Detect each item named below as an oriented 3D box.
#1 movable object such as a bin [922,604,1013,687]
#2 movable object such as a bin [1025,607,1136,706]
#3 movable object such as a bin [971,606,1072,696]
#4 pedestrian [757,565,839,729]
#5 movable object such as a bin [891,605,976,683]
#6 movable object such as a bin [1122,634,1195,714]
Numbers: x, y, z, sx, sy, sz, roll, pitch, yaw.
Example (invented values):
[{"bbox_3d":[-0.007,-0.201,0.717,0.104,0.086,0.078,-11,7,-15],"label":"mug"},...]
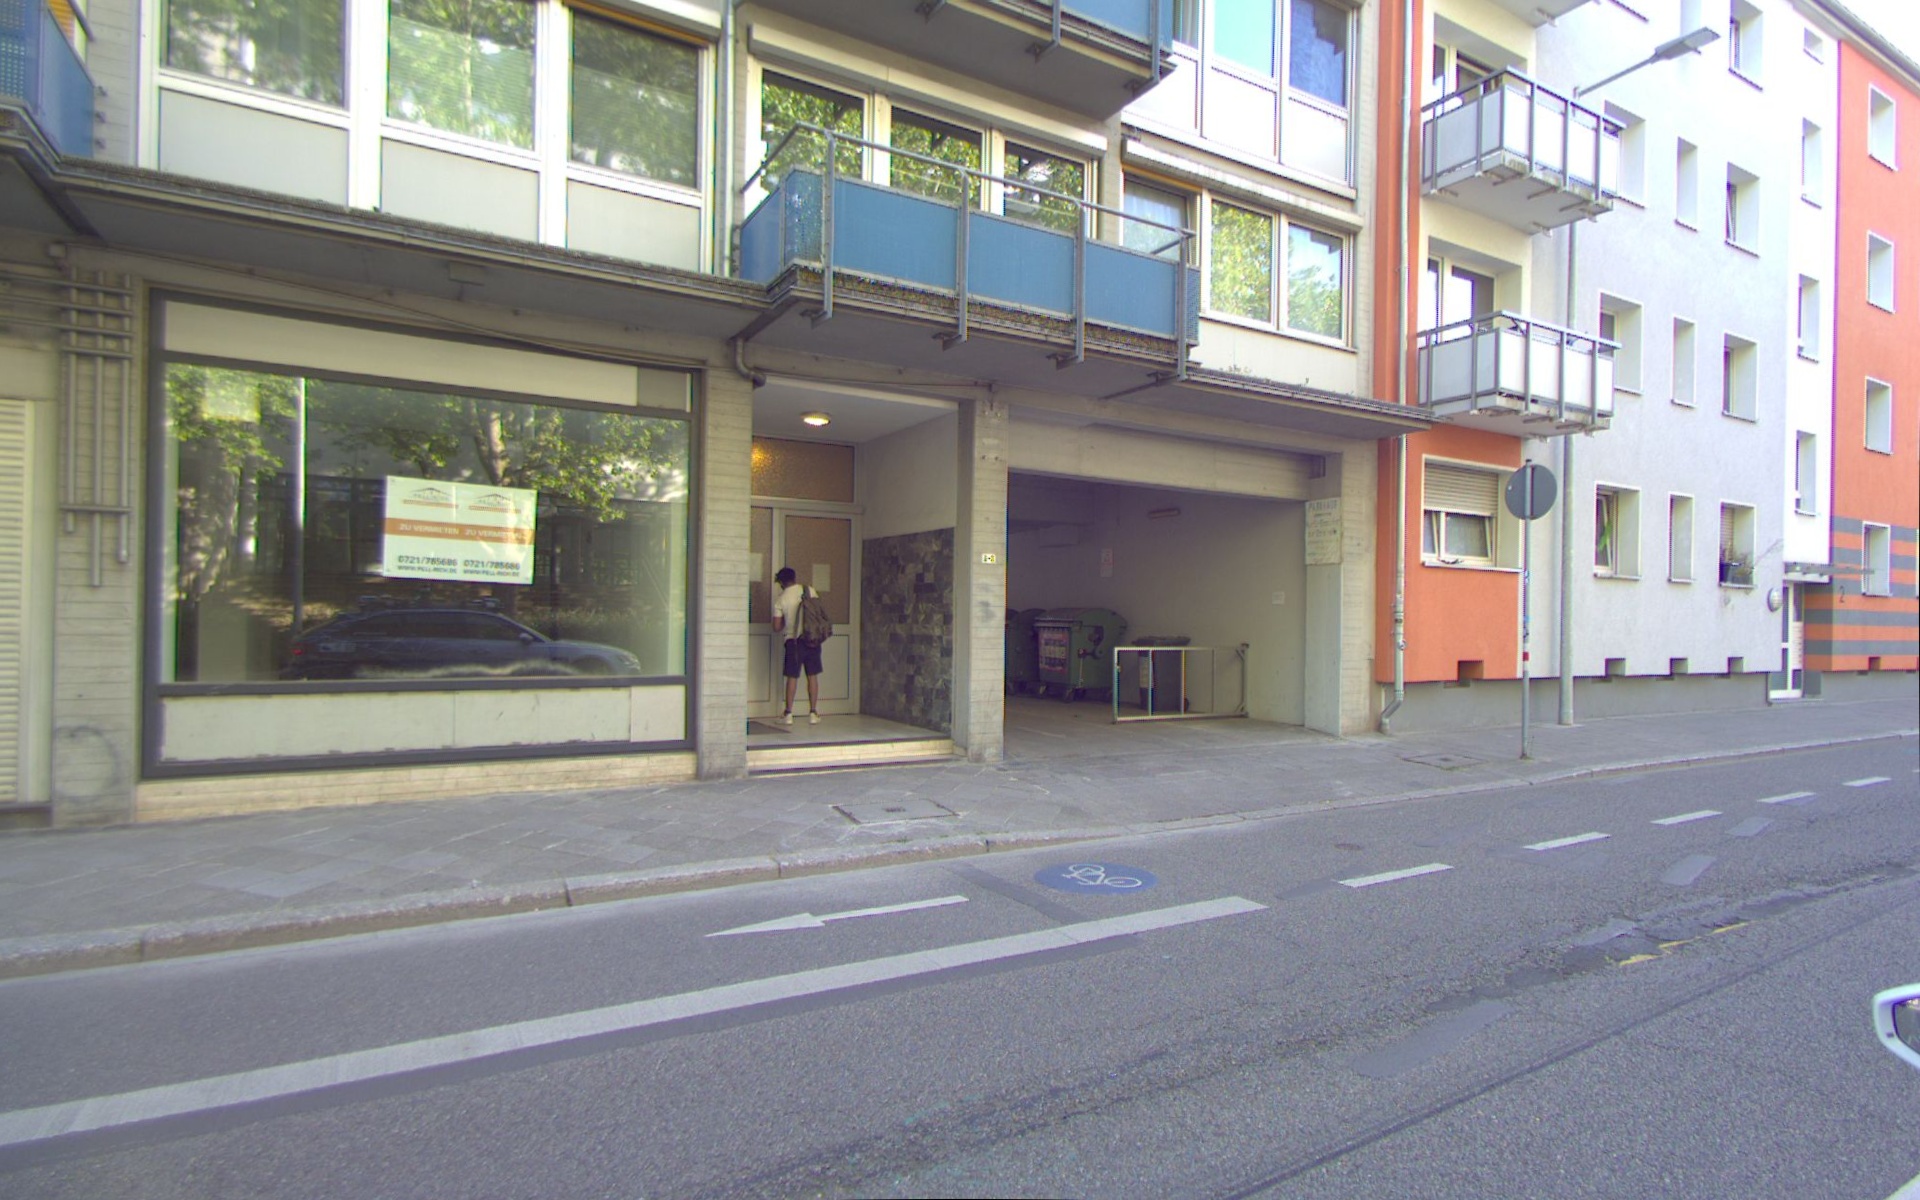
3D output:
[{"bbox_3d":[0.128,0.826,18.765,1.182,1.452,1.300,2,0,-30],"label":"movable object such as a bin"},{"bbox_3d":[1.882,0.865,15.803,1.182,1.452,1.300,2,0,-30],"label":"movable object such as a bin"},{"bbox_3d":[1.041,0.846,17.190,1.182,1.452,1.300,2,0,-30],"label":"movable object such as a bin"},{"bbox_3d":[-1.686,0.470,10.381,0.558,1.606,0.919,1,0,-28],"label":"pedestrian"},{"bbox_3d":[-0.539,0.857,19.929,1.182,1.452,1.300,2,0,-30],"label":"movable object such as a bin"},{"bbox_3d":[2.859,1.059,14.521,0.707,1.089,0.735,2,0,-30],"label":"movable object such as a bin"}]
